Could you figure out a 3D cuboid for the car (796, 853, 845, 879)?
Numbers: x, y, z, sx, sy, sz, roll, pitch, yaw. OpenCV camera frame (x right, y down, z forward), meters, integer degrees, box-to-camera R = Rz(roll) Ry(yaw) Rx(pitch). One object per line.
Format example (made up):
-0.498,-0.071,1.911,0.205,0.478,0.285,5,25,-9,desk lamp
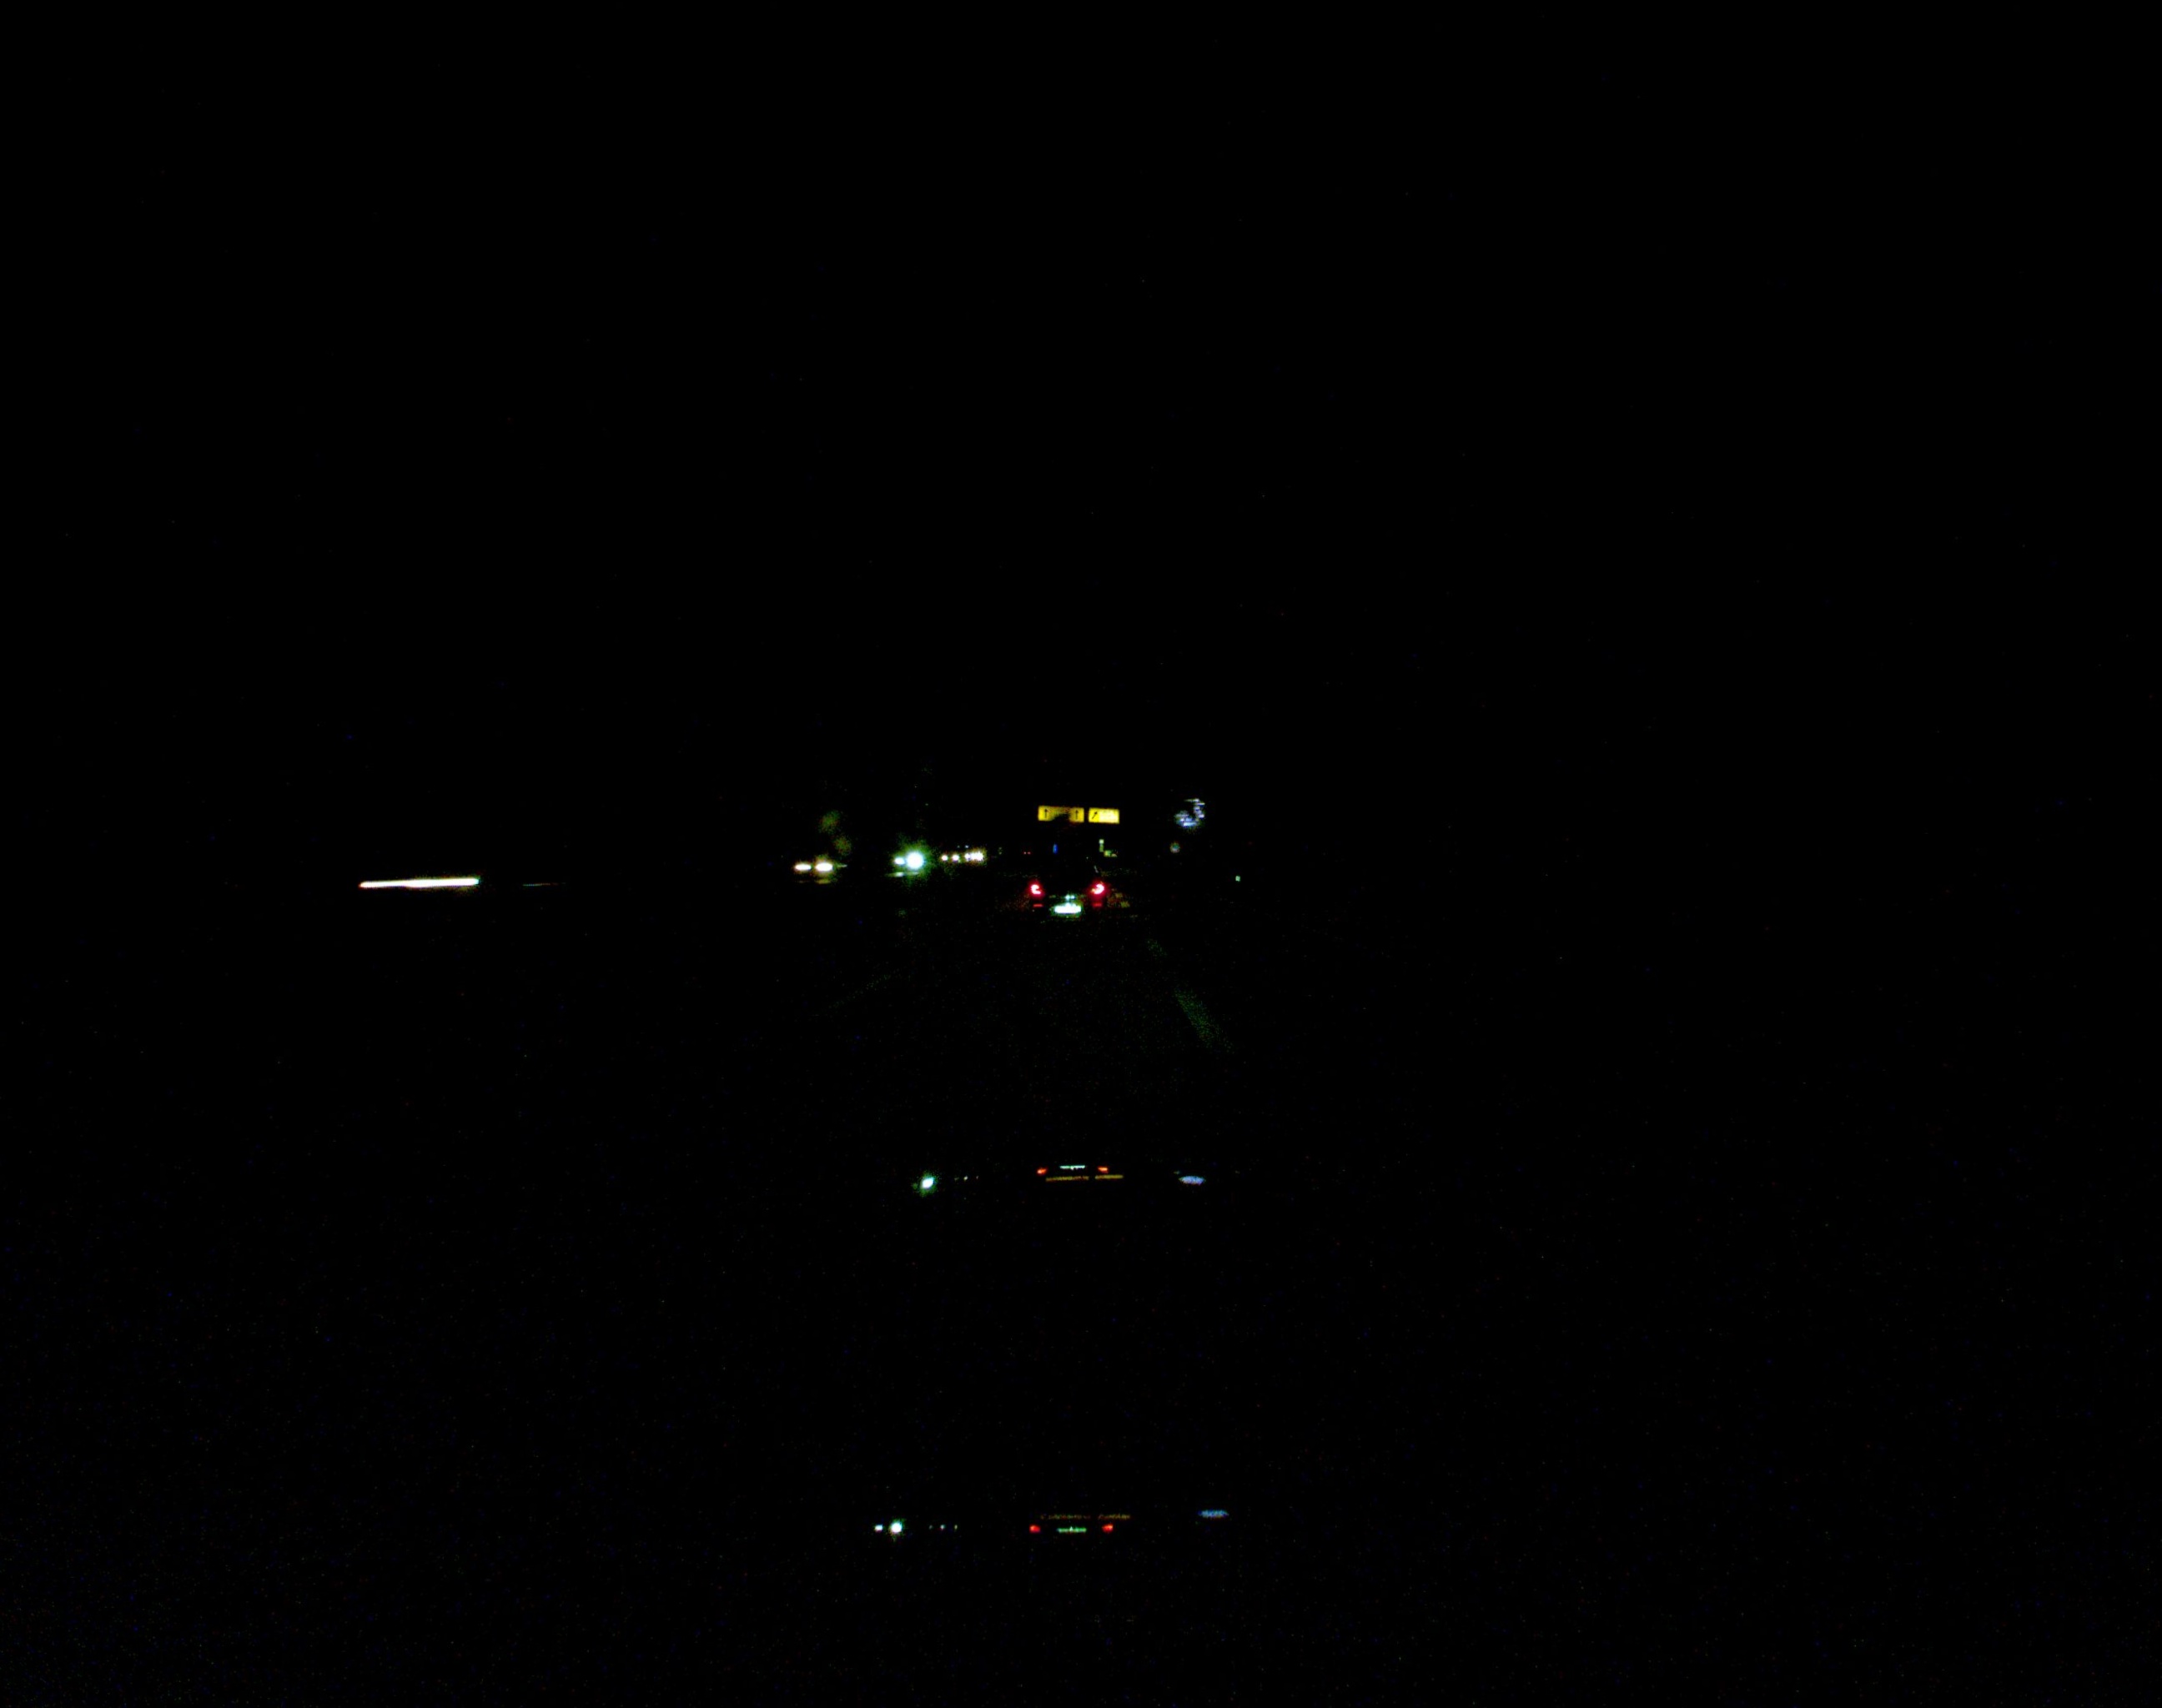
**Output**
-16.129,0.709,50.620,1.723,1.517,4.157,0,0,0,car

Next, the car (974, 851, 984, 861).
-23.881,0.425,191.530,1.990,2.266,3.994,3,-1,-4,car

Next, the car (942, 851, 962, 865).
-18.410,0.550,116.217,2.357,2.013,5.025,0,0,-4,car

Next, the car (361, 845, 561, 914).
-15.789,0.626,21.050,1.853,1.515,4.003,3,-1,3,car

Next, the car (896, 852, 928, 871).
-15.568,0.672,75.256,1.961,1.763,5.031,0,0,0,car

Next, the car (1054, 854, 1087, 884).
-0.617,0.915,50.334,1.900,1.698,4.000,2,0,0,car

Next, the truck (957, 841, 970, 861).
-26.312,-0.659,182.351,2.625,4.233,8.566,3,-1,-10,truck

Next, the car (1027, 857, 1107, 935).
-0.306,0.843,18.251,1.583,1.508,3.998,-1,0,-1,car
